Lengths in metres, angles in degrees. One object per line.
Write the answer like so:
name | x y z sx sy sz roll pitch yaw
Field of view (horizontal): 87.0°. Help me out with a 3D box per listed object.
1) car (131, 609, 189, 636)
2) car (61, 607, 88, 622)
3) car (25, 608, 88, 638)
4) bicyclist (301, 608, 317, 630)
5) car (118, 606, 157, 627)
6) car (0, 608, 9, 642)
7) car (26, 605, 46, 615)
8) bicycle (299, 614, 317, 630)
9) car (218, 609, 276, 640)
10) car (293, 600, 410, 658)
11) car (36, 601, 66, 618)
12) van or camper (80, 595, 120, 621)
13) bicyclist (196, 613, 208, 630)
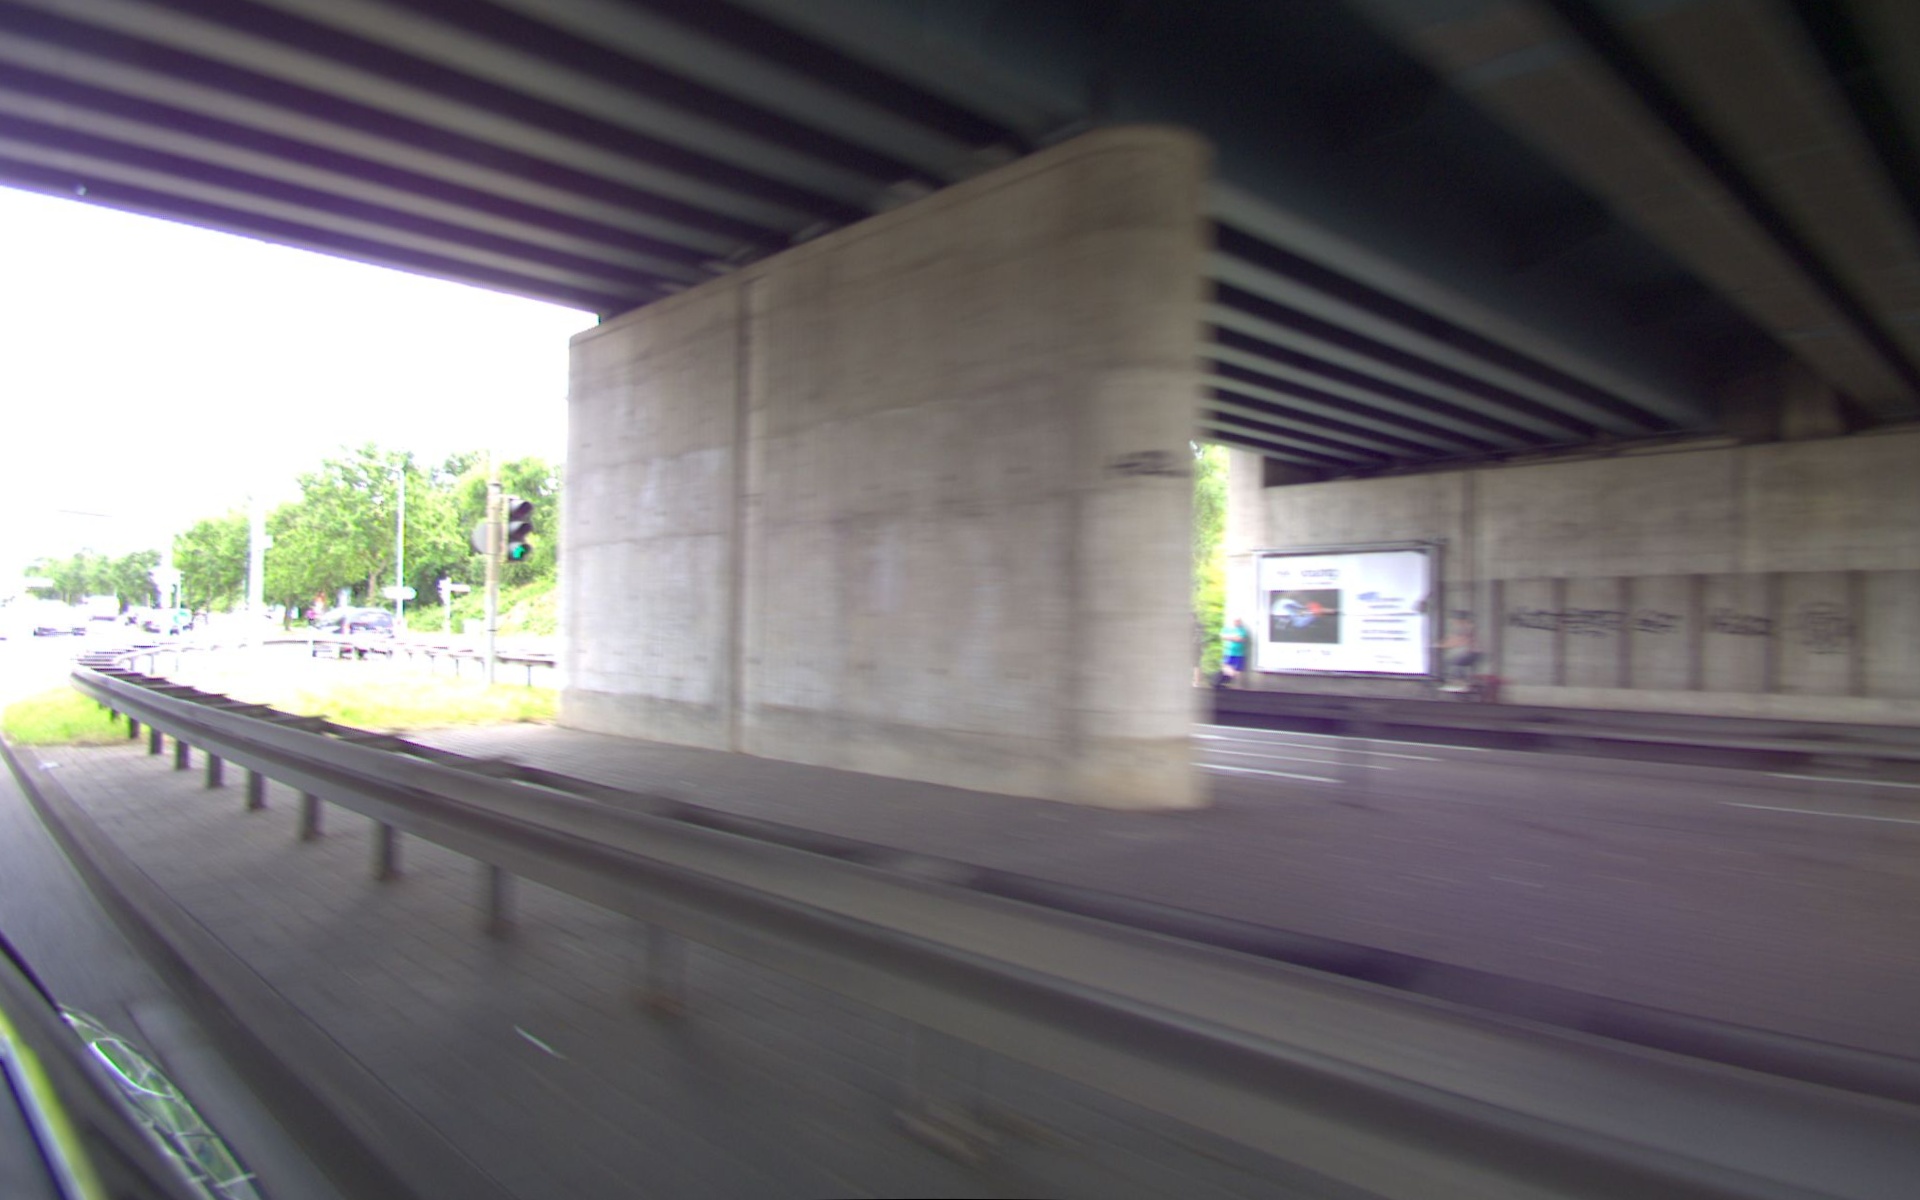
car | -46.061 1.283 58.223 4.782 1.400 1.952 0 -3 44
car | -112.217 1.857 128.276 4.407 1.815 1.973 -1 -3 41
car | -44.986 1.121 50.365 4.833 1.426 1.971 -1 -1 44
bicyclist | -54.000 1.564 83.910 0.998 1.760 0.882 0 -1 44
car | -70.404 1.409 86.600 4.220 1.780 1.971 -1 -3 43
car | -42.755 1.084 43.953 4.297 1.425 1.894 -1 0 44
car | -138.576 1.531 151.783 5.026 1.442 1.971 0 -2 45
bicycle | -54.198 1.843 84.127 2.394 1.280 0.812 0 -1 45
car | -39.522 1.342 56.082 4.394 1.644 1.785 0 -2 44
car | -19.965 0.939 33.145 4.716 1.772 1.972 -1 -2 42
car | -107.695 1.113 119.899 5.193 1.979 2.166 -1 -3 43
van or camper | -89.547 0.844 105.349 7.064 2.559 2.326 -1 -1 43
bicyclist | -79.042 2.249 105.582 0.980 1.670 0.731 -1 -3 40
